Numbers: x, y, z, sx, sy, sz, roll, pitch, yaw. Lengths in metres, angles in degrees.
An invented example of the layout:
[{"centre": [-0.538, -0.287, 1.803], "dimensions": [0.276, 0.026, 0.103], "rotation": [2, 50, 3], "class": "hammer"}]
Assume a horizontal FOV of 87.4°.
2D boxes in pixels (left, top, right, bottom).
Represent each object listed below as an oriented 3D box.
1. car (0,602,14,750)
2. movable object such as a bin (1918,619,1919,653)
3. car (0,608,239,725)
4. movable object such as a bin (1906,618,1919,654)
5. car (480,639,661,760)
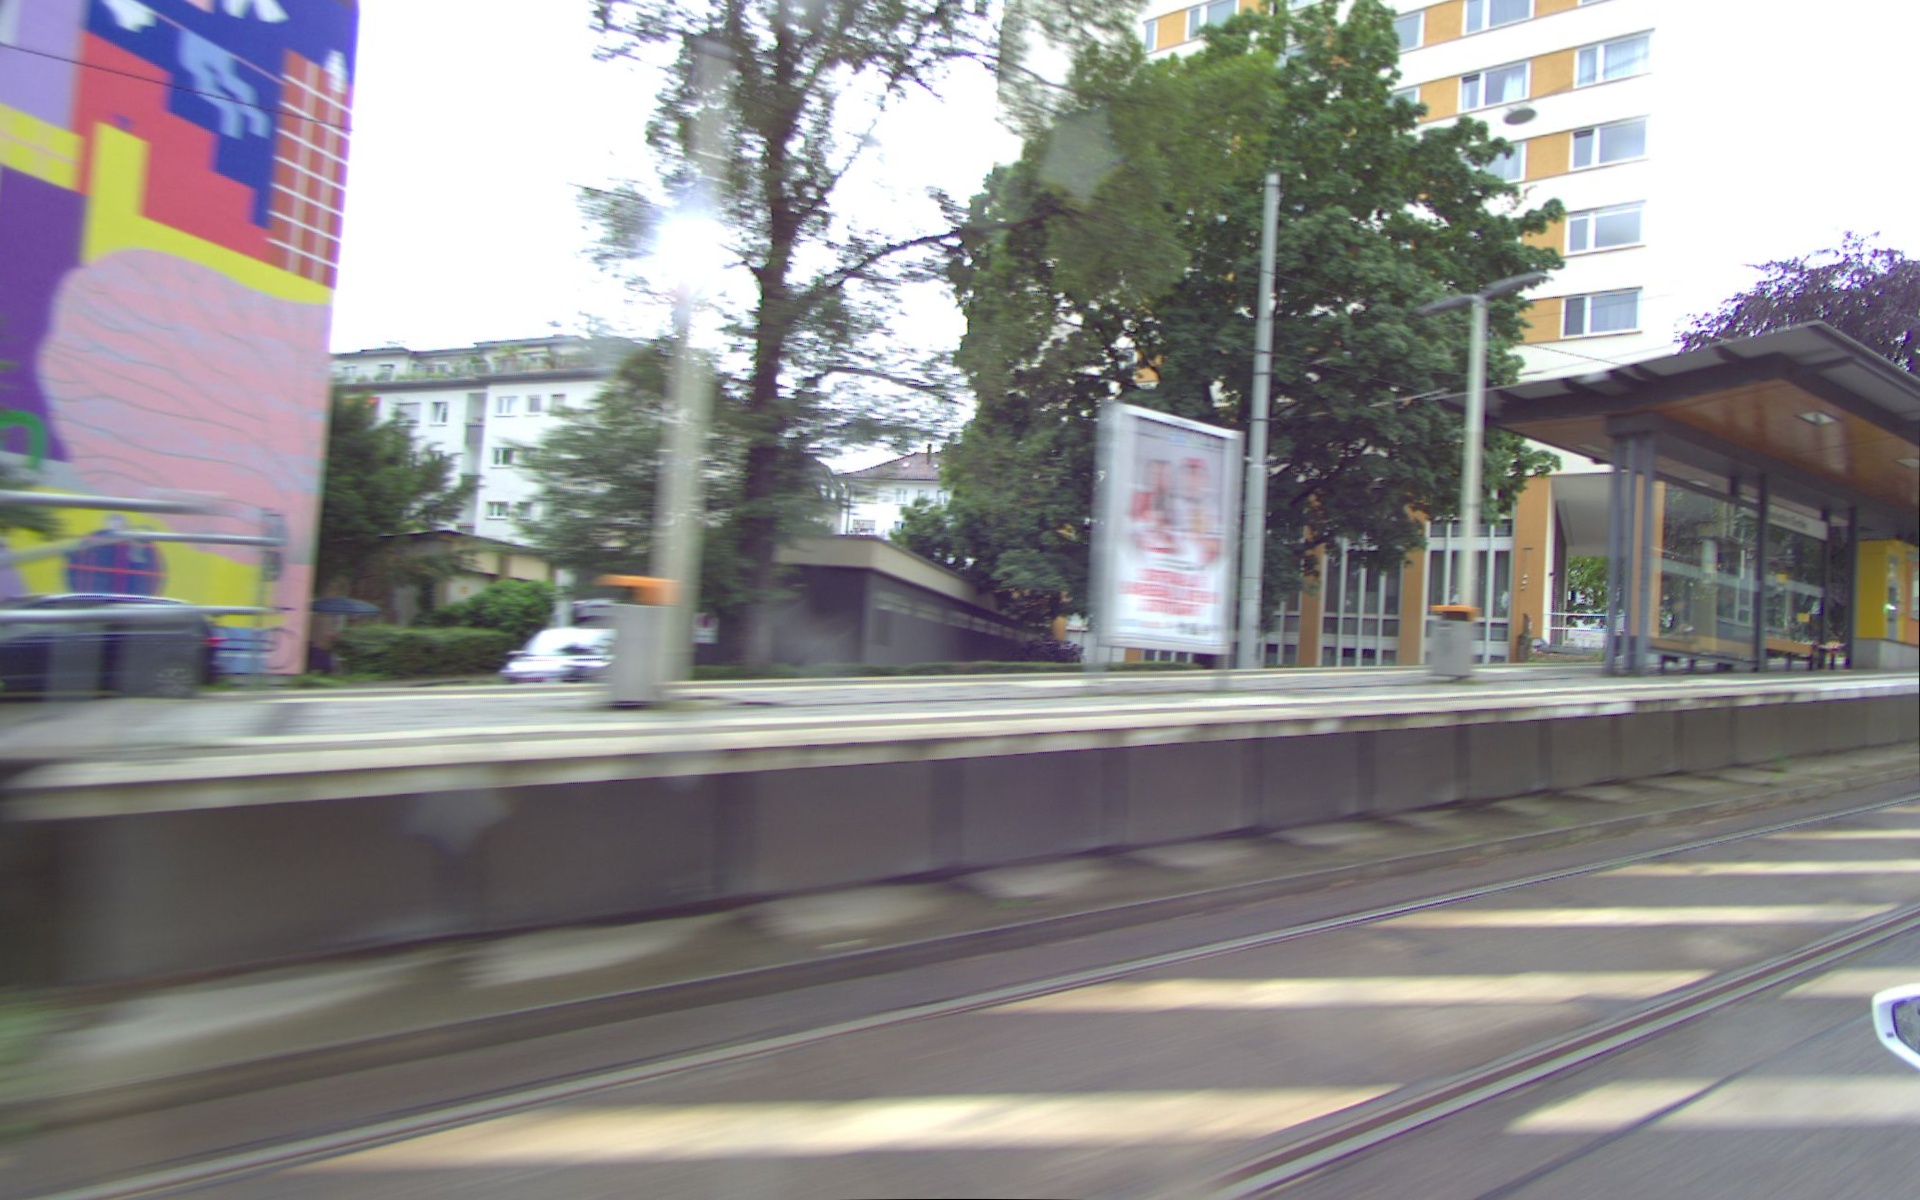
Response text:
[{"centre": [-12.994, 0.877, 10.394], "dimensions": [4.394, 1.739, 1.736], "rotation": [0, -1, -33], "class": "car"}, {"centre": [41.301, 1.530, 42.315], "dimensions": [1.339, 1.453, 1.016], "rotation": [1, 1, -30], "class": "movable object such as a bin"}, {"centre": [-13.858, 1.014, 15.573], "dimensions": [1.680, 1.659, 3.949], "rotation": [0, -4, 29], "class": "car"}, {"centre": [40.011, 1.505, 41.511], "dimensions": [1.288, 1.453, 1.016], "rotation": [1, 1, -30], "class": "movable object such as a bin"}, {"centre": [-6.051, 1.451, 16.164], "dimensions": [1.910, 1.563, 4.485], "rotation": [0, -1, -11], "class": "car"}]
